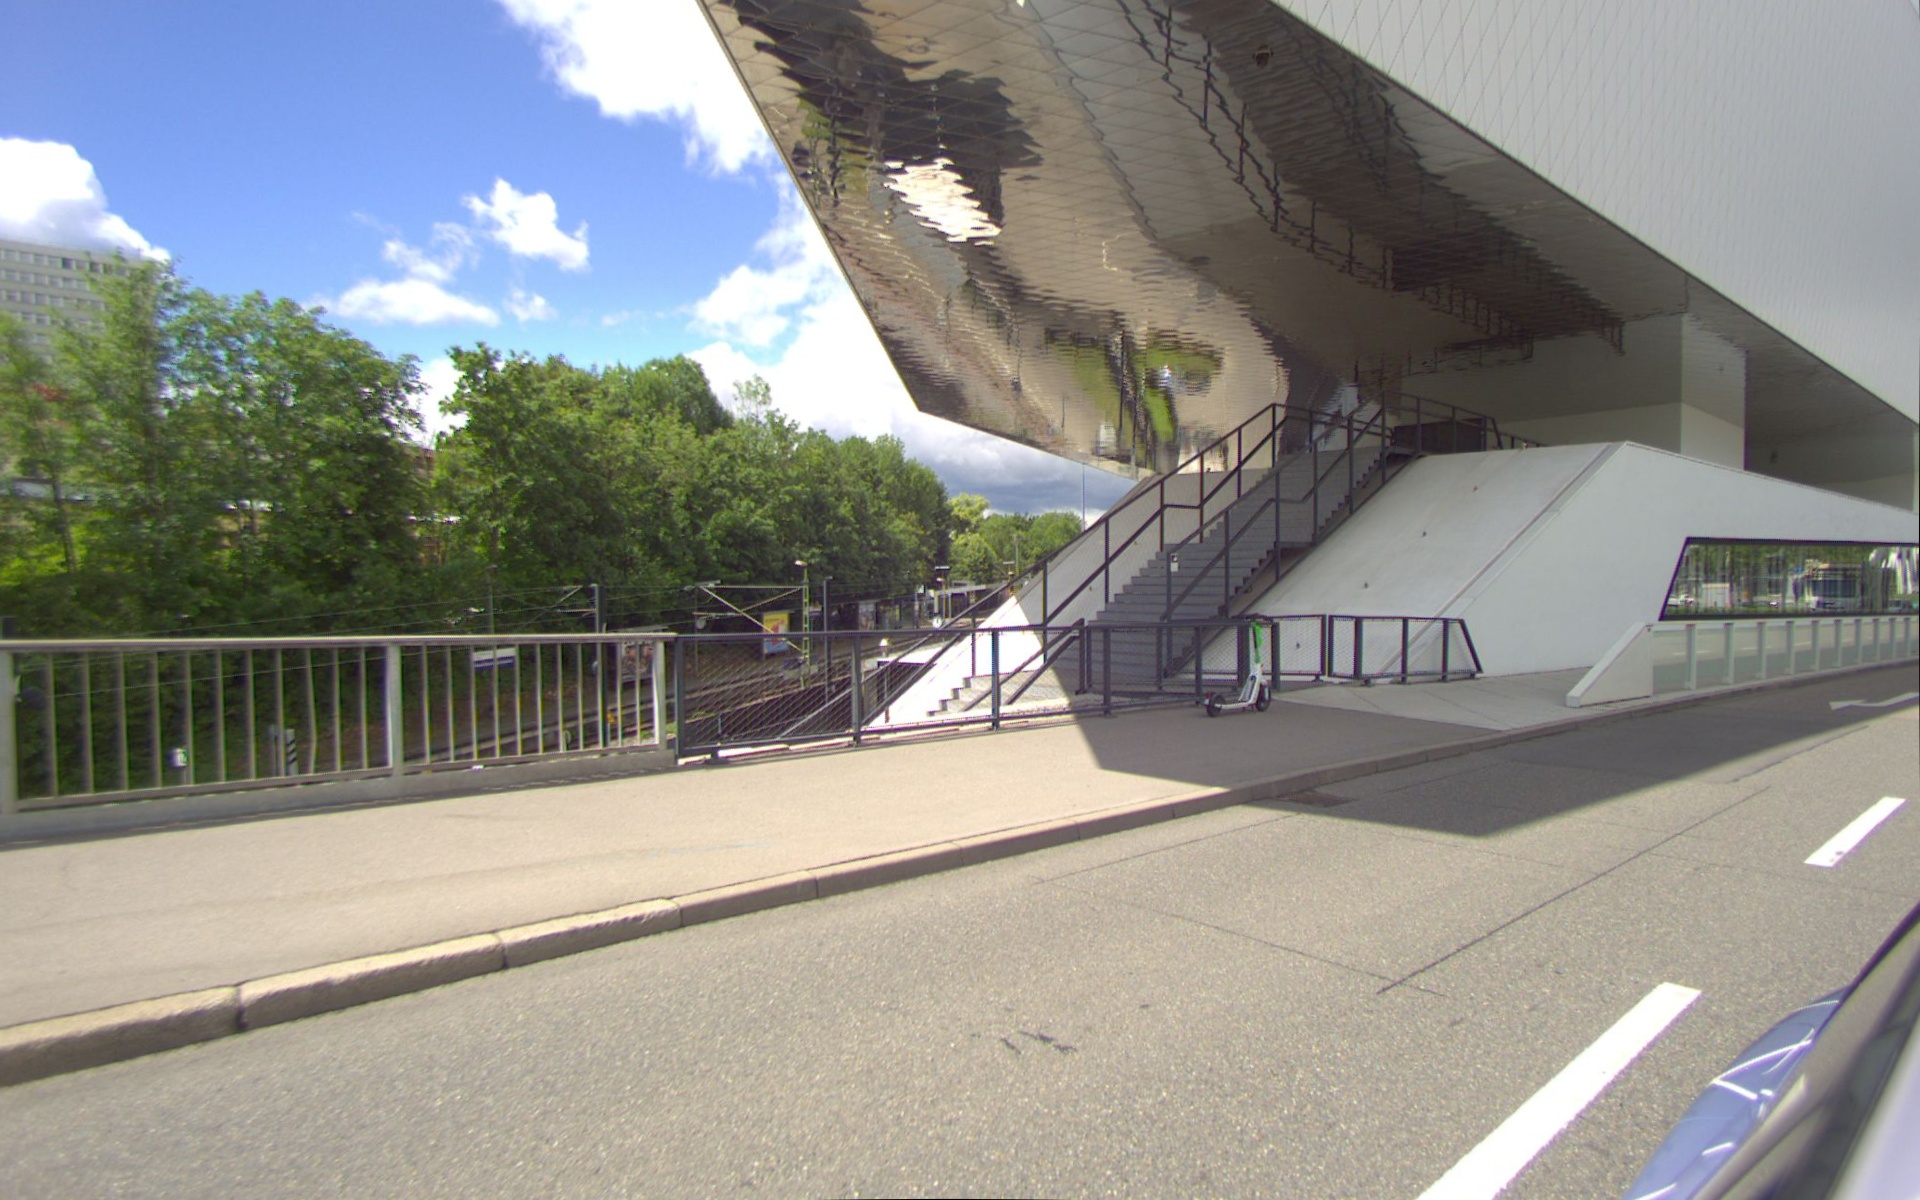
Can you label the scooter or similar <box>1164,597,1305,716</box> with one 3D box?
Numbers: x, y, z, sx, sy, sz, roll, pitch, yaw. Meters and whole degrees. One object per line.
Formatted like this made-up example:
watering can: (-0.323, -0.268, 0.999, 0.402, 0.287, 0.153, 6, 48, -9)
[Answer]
scooter or similar: (3.196, 0.603, 11.678, 1.825, 1.229, 0.654, -1, 2, -41)
